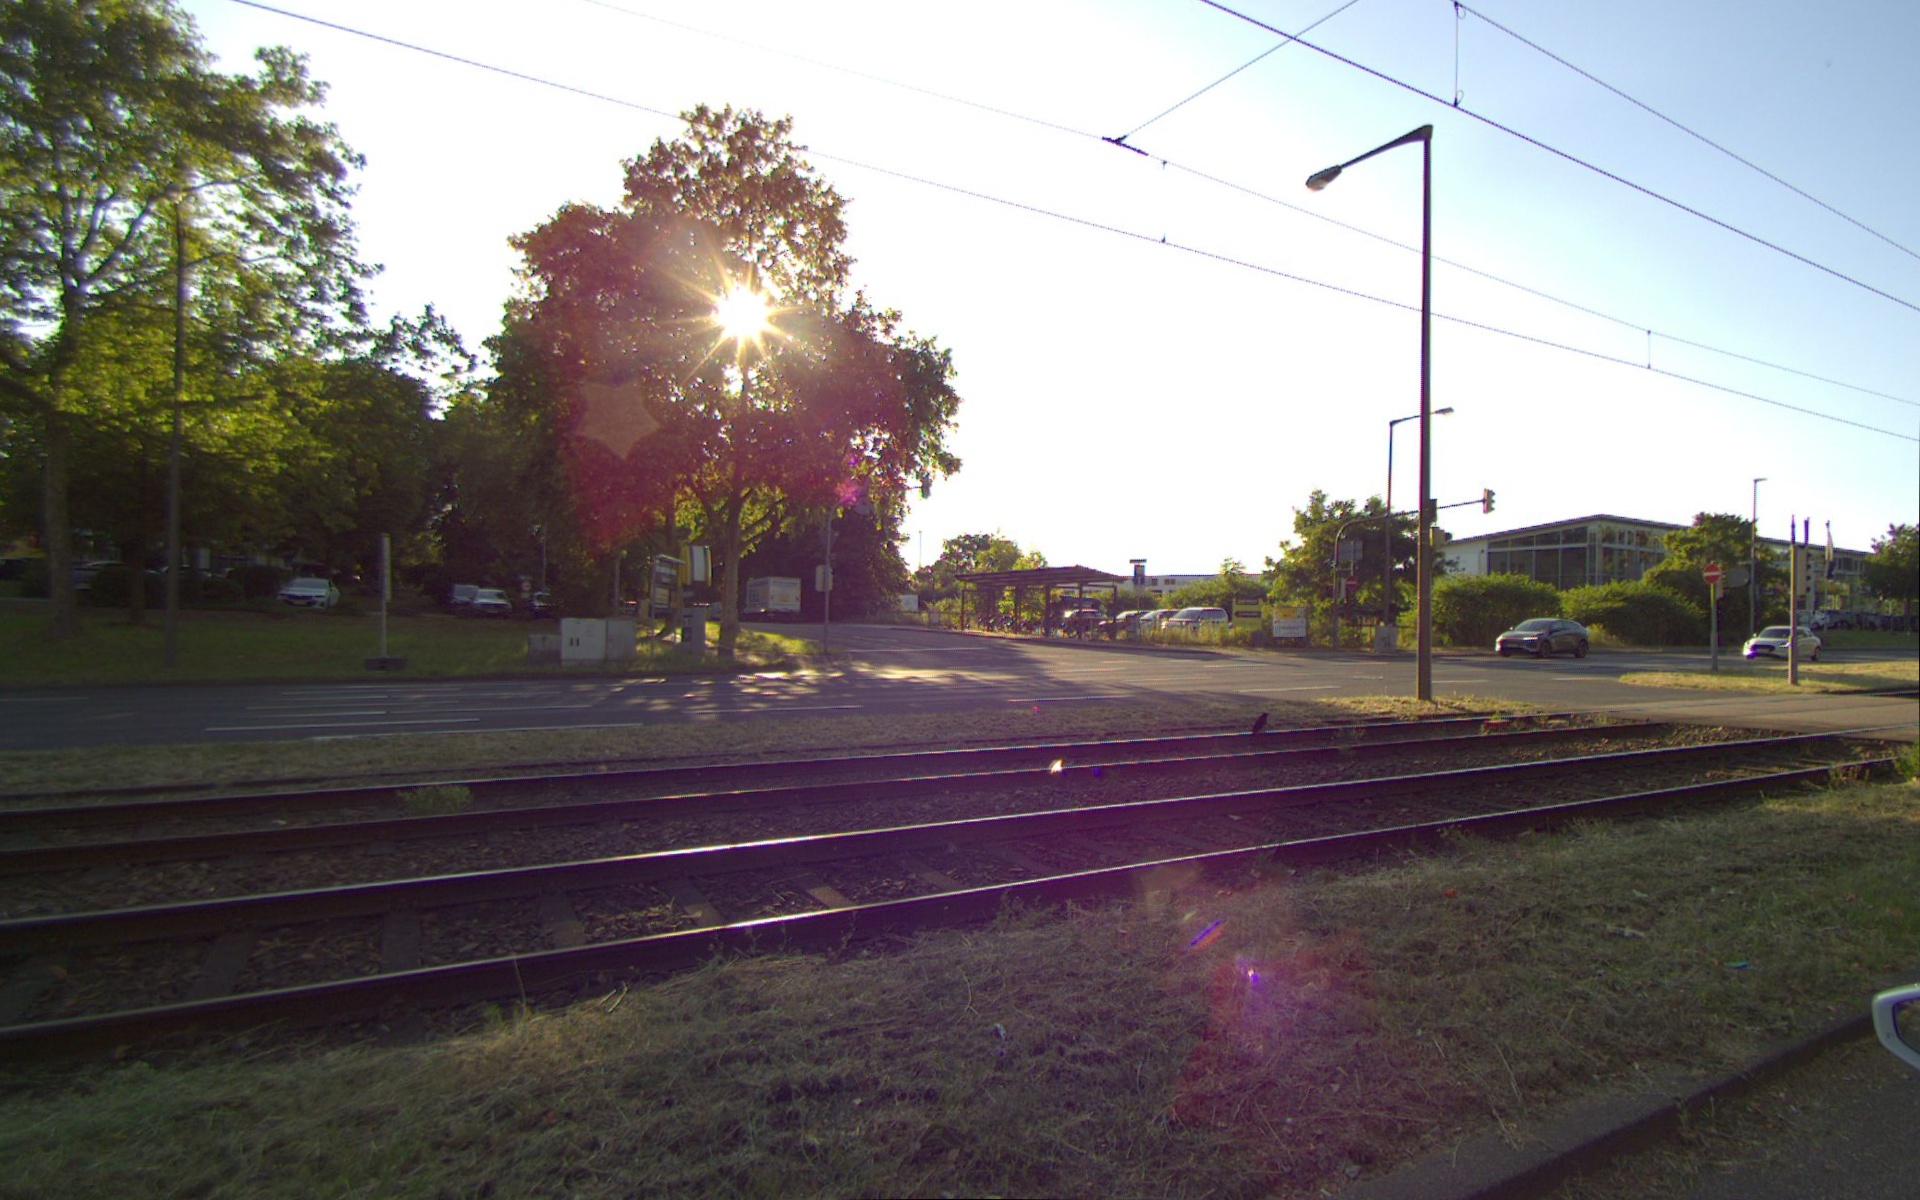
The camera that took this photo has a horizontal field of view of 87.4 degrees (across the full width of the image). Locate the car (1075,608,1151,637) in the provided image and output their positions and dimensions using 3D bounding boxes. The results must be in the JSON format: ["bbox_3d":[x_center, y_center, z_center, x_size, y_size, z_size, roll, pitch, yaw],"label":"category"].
[{"bbox_3d":[8.821,1.292,57.800,4.123,1.604,1.853,1,0,-30],"label":"car"}]

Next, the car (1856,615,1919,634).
[{"bbox_3d":[81.766,2.159,88.513,1.728,1.576,3.957,1,0,-37],"label":"car"}]

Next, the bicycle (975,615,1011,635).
[{"bbox_3d":[1.929,1.461,59.049,2.004,1.119,0.777,2,0,-30],"label":"bicycle"}]

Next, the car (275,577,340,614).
[{"bbox_3d":[-29.432,-0.206,45.438,1.916,1.530,4.071,2,0,-26],"label":"car"}]

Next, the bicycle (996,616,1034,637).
[{"bbox_3d":[3.070,1.484,56.413,2.004,1.119,0.777,2,0,-30],"label":"bicycle"}]

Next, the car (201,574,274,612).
[{"bbox_3d":[-32.113,-0.306,44.756,1.916,1.530,4.071,2,0,-26],"label":"car"}]

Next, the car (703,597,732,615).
[{"bbox_3d":[-22.928,0.535,94.920,1.711,1.603,4.028,1,0,-27],"label":"car"}]

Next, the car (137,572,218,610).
[{"bbox_3d":[-33.955,-0.379,43.684,1.916,1.530,4.071,2,0,-26],"label":"car"}]

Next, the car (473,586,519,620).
[{"bbox_3d":[-22.934,0.124,49.589,1.916,1.530,4.071,2,0,-26],"label":"car"}]

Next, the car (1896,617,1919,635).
[{"bbox_3d":[88.383,2.392,91.745,1.725,1.642,3.962,1,0,-34],"label":"car"}]

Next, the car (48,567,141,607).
[{"bbox_3d":[-36.087,-0.541,42.020,1.916,1.530,4.071,2,0,-26],"label":"car"}]

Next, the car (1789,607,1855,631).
[{"bbox_3d":[69.325,1.515,80.830,3.940,1.840,1.735,1,0,40],"label":"car"}]

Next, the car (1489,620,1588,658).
[{"bbox_3d":[25.026,1.672,43.439,4.120,1.501,1.854,1,0,-29],"label":"car"}]

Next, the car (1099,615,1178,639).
[{"bbox_3d":[9.940,1.495,55.868,4.123,1.284,1.853,1,0,-30],"label":"car"}]

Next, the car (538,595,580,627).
[{"bbox_3d":[-20.439,0.536,51.138,1.604,1.477,3.878,2,0,-27],"label":"car"}]

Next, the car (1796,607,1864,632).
[{"bbox_3d":[68.364,1.497,78.985,3.940,1.840,1.735,1,0,40],"label":"car"}]

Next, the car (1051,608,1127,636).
[{"bbox_3d":[7.717,1.299,59.994,4.123,1.604,1.968,1,0,-30],"label":"car"}]

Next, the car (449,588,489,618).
[{"bbox_3d":[-28.572,0.142,58.494,1.836,1.637,4.036,2,0,-23],"label":"car"}]

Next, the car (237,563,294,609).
[{"bbox_3d":[-37.296,-0.735,54.007,2.138,2.334,4.369,2,0,-31],"label":"car"}]

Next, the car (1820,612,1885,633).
[{"bbox_3d":[74.209,1.849,83.614,3.940,1.577,1.735,1,0,40],"label":"car"}]

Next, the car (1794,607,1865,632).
[{"bbox_3d":[65.180,1.448,75.373,3.940,1.727,1.735,1,0,40],"label":"car"}]

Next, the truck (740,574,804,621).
[{"bbox_3d":[-15.047,-0.248,79.790,2.782,3.520,8.291,1,0,-27],"label":"truck"}]

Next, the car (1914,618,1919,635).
[{"bbox_3d":[91.298,2.508,93.024,1.725,1.642,3.962,1,0,-34],"label":"car"}]

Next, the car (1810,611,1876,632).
[{"bbox_3d":[71.989,1.753,81.946,3.940,1.577,1.735,1,0,40],"label":"car"}]

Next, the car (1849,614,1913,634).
[{"bbox_3d":[79.614,2.071,86.895,3.940,1.577,1.735,1,0,40],"label":"car"}]

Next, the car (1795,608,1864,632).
[{"bbox_3d":[66.726,1.498,77.173,3.940,1.727,1.735,1,0,40],"label":"car"}]

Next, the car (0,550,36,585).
[{"bbox_3d":[-53.859,-1.863,56.381,2.274,1.875,5.220,2,0,-36],"label":"car"}]

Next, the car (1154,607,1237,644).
[{"bbox_3d":[12.363,1.334,52.737,4.123,1.846,1.853,1,0,-30],"label":"car"}]

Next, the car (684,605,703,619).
[{"bbox_3d":[-33.276,1.528,125.378,1.887,1.602,4.036,2,0,-21],"label":"car"}]

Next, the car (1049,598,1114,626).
[{"bbox_3d":[9.288,0.946,76.665,4.715,2.041,1.853,1,0,-30],"label":"car"}]

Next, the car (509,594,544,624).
[{"bbox_3d":[-26.196,0.520,60.694,1.836,1.637,4.036,2,0,-23],"label":"car"}]

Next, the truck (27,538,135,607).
[{"bbox_3d":[-44.512,-1.324,51.064,2.468,3.209,6.187,2,0,-26],"label":"truck"}]

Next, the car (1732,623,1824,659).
[{"bbox_3d":[36.937,1.833,45.360,4.042,1.501,1.854,1,0,-29],"label":"car"}]
